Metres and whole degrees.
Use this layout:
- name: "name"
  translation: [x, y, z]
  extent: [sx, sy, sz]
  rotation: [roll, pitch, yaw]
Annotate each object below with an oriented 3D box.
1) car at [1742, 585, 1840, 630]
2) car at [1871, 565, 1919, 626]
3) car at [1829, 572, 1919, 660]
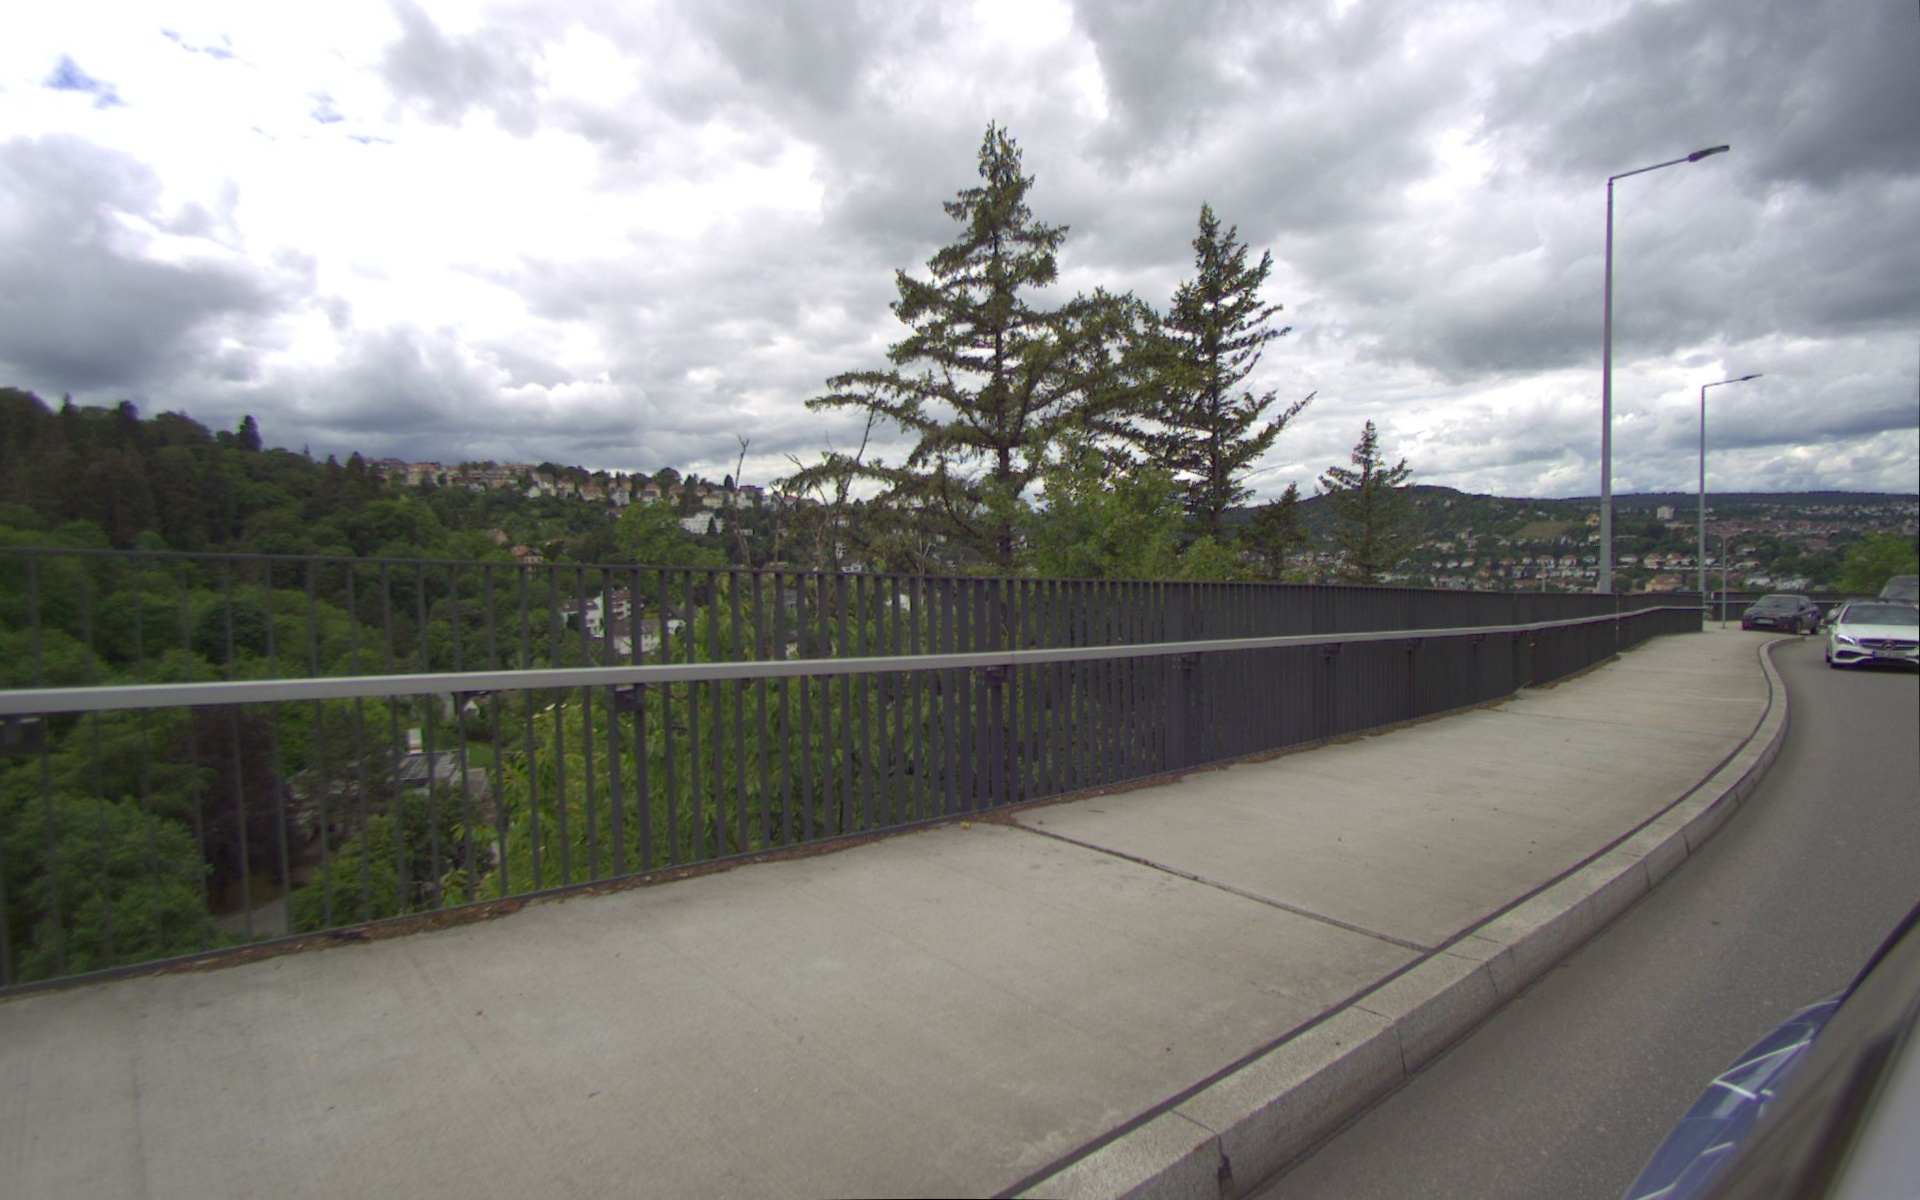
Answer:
- name: "car"
  translation: [31.712, 0.251, 38.605]
  extent: [4.012, 1.562, 1.881]
  rotation: [0, 2, -36]
- name: "car"
  translation: [44.906, -0.179, 46.640]
  extent: [5.651, 2.551, 2.180]
  rotation: [1, 5, -26]
- name: "car"
  translation: [20.534, 0.411, 22.166]
  extent: [1.994, 1.740, 3.934]
  rotation: [0, -3, 45]
